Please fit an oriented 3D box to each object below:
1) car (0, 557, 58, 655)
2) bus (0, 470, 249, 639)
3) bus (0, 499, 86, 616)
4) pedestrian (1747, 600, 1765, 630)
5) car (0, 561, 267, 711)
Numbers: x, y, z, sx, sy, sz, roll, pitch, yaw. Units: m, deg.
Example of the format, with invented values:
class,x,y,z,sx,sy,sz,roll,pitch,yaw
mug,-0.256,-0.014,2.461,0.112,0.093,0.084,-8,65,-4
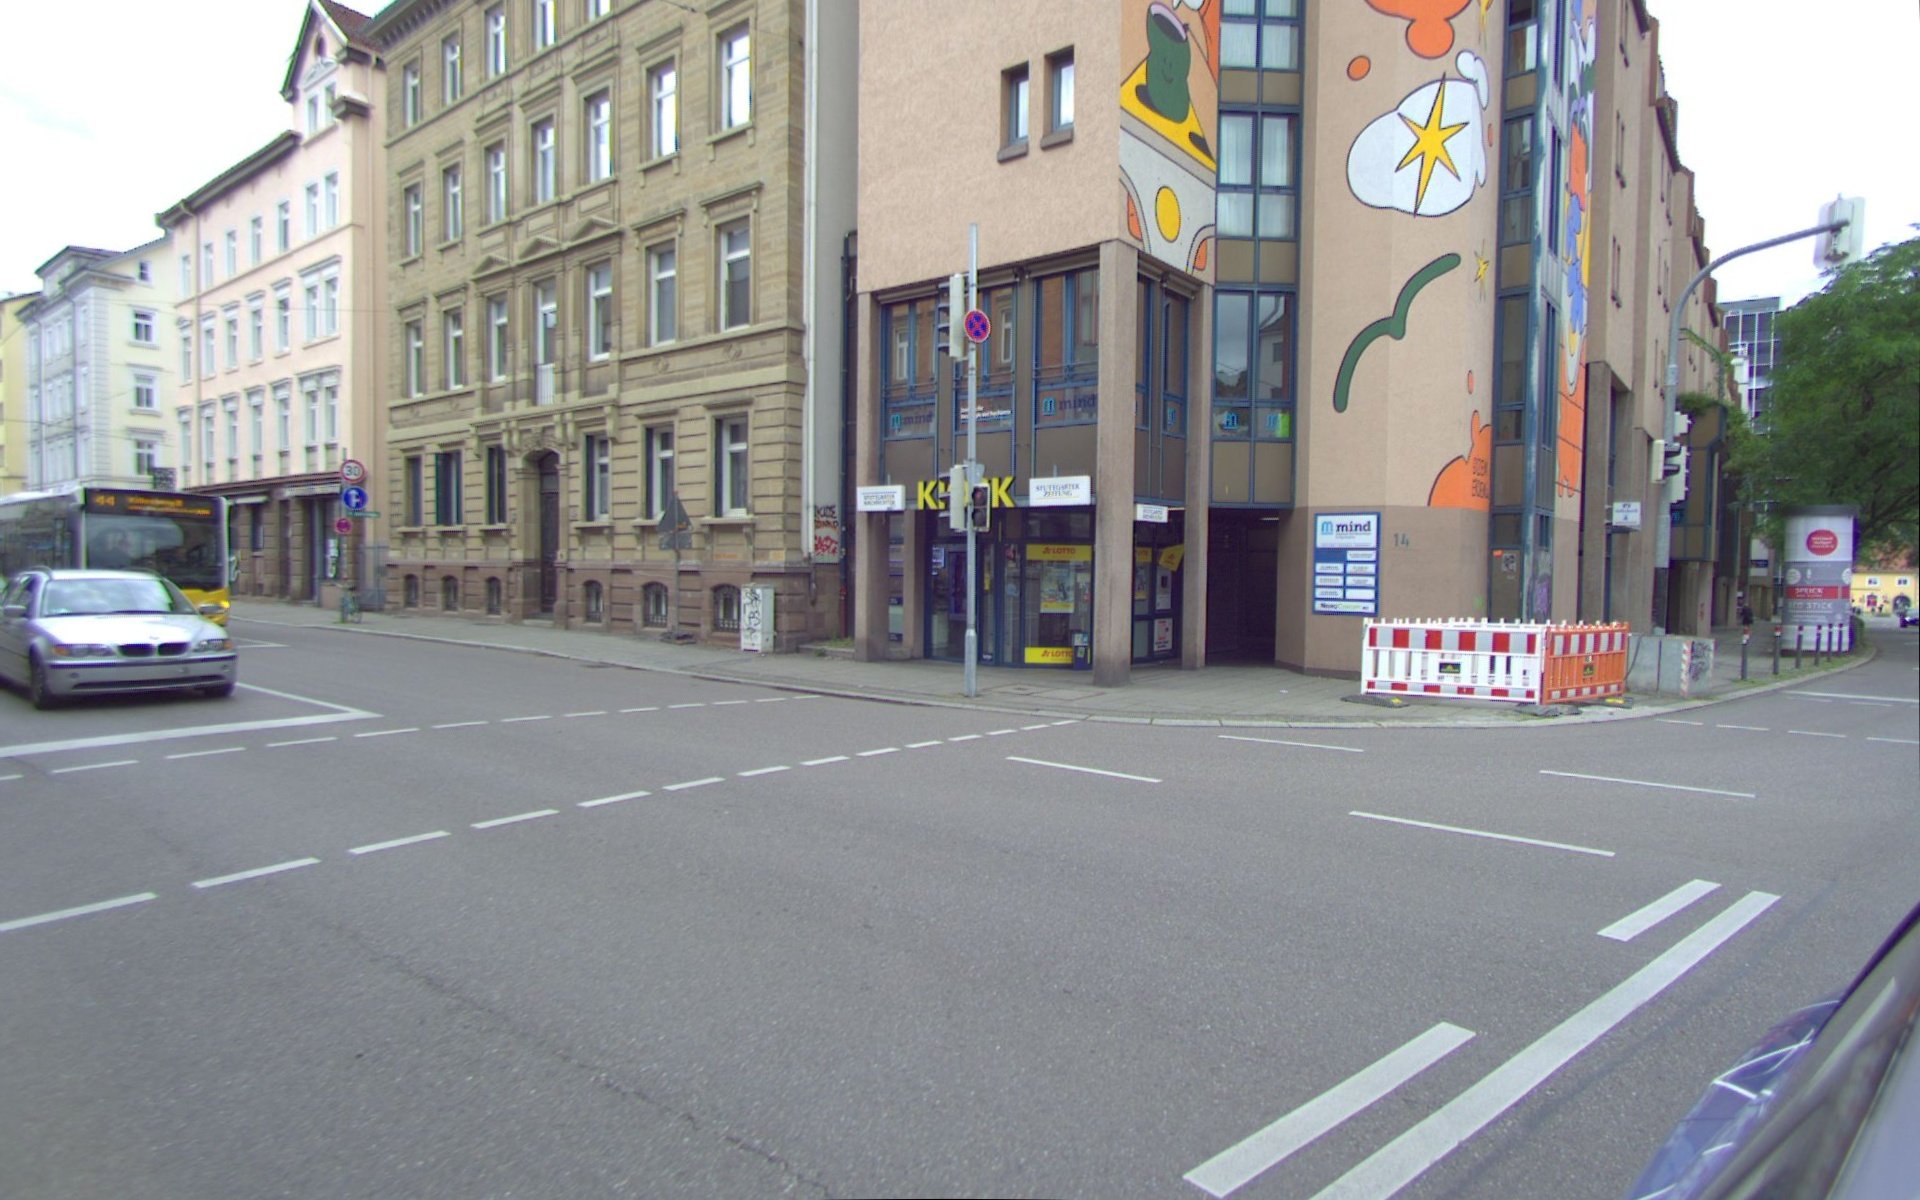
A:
class,x,y,z,sx,sy,sz,roll,pitch,yaw
car,-16.614,0.047,16.538,4.244,1.508,1.974,2,1,36
bus,-19.974,-0.964,23.097,11.529,3.081,2.835,2,1,38
bus,-29.464,-1.256,30.316,11.290,3.075,2.680,2,1,37
pedestrian,47.178,0.890,59.963,0.676,1.733,0.710,2,0,-42
car,-9.890,0.295,11.713,4.136,1.446,1.830,2,1,36
